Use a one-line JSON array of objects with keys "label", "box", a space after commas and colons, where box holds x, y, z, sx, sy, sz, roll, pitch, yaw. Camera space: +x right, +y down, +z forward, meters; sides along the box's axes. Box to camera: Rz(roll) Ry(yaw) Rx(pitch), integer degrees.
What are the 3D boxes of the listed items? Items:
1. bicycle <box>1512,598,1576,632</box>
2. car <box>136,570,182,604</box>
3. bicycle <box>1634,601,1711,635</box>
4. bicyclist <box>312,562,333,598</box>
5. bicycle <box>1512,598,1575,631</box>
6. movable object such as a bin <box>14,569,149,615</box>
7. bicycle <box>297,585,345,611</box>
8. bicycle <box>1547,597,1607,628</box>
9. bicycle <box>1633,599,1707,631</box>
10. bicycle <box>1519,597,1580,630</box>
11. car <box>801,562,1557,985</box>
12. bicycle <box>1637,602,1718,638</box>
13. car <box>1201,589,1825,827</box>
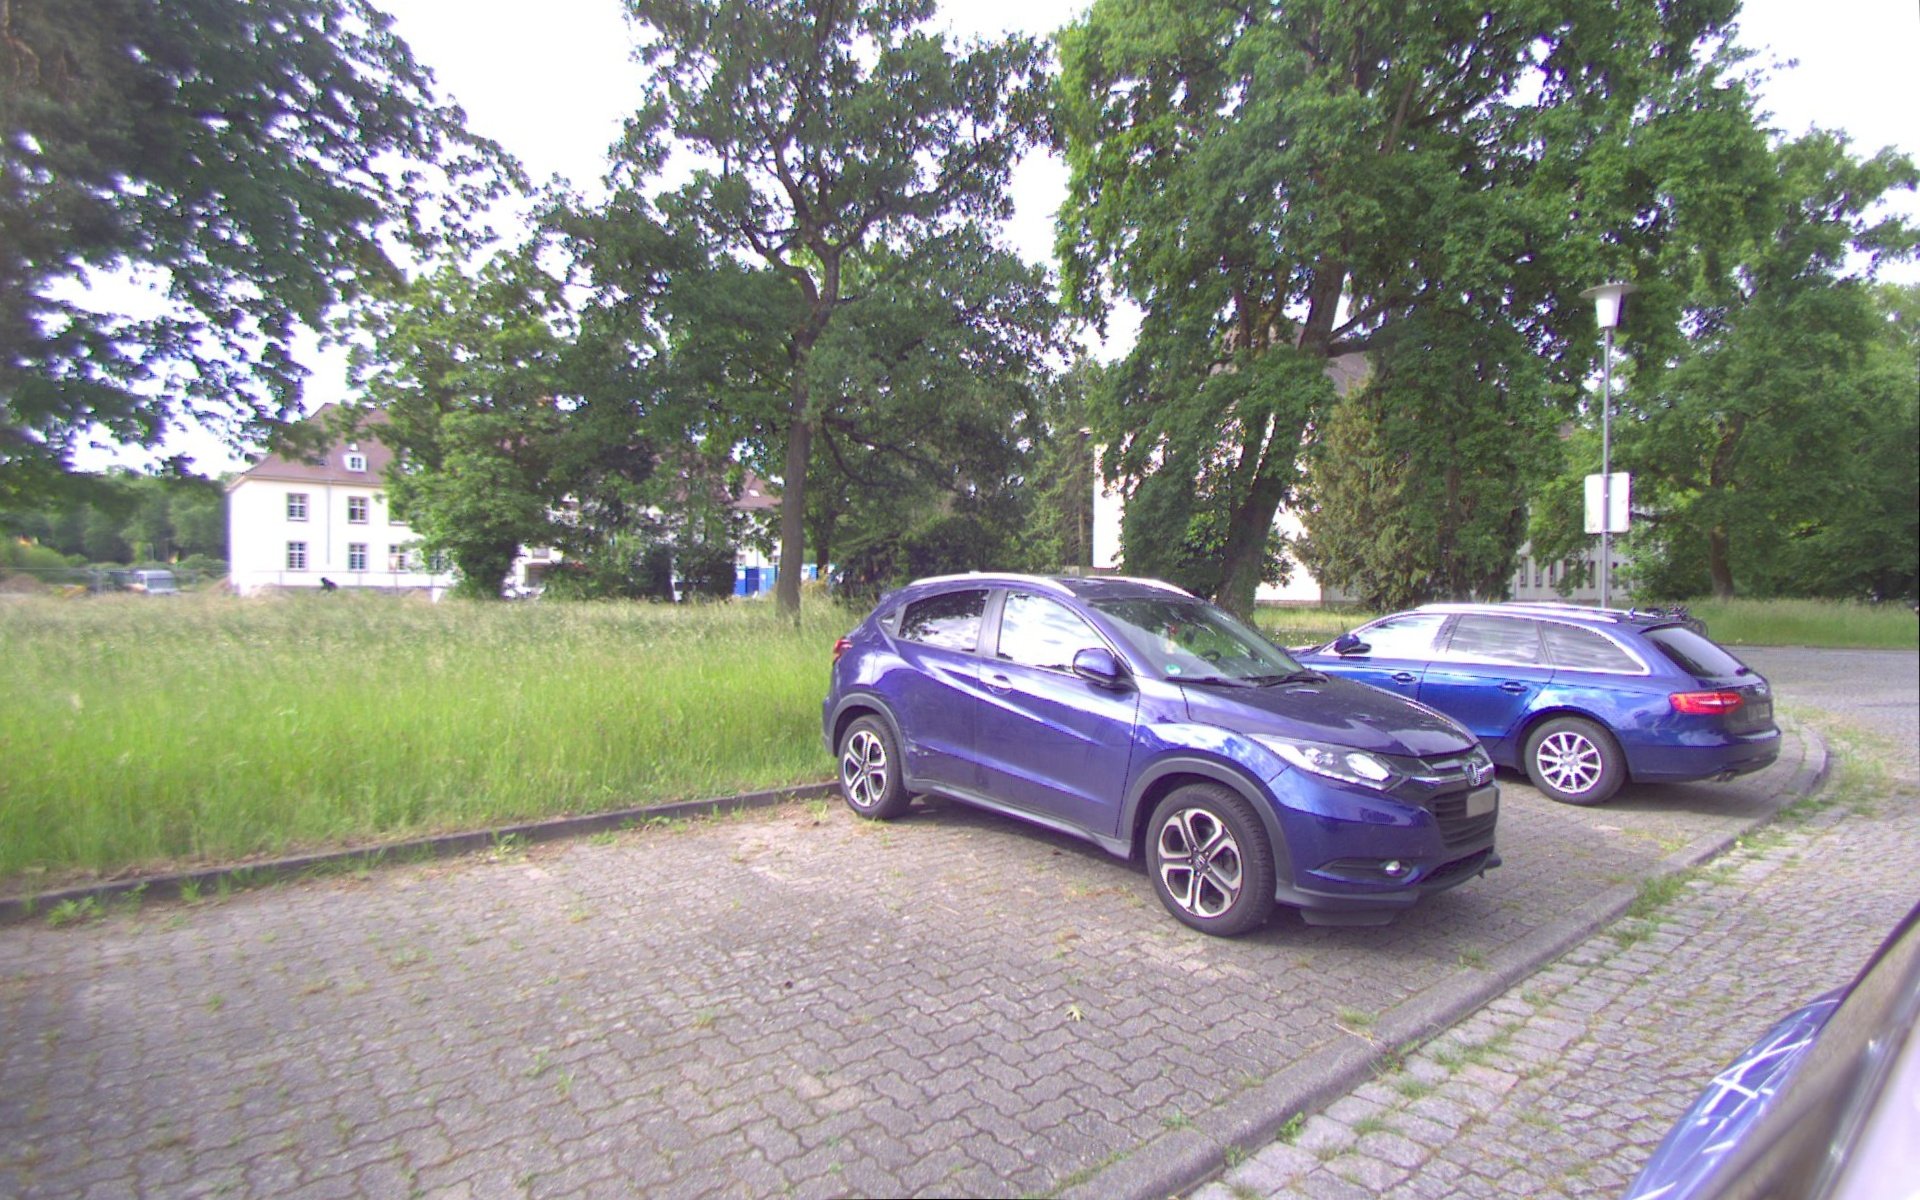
[{"label": "bicycle", "box": [19.882, 0.505, 34.511, 1.839, 1.137, 0.616, 0, 0, 27]}, {"label": "car", "box": [-57.579, -0.909, 72.706, 4.579, 2.377, 1.888, 0, 0, 42]}, {"label": "bicycle", "box": [23.067, 0.572, 32.796, 1.951, 1.090, 0.584, 0, 0, 23]}, {"label": "bicyclist", "box": [-31.351, -0.984, 49.763, 0.759, 1.717, 0.726, 0, 0, -42]}, {"label": "bicycle", "box": [20.203, 0.499, 35.061, 1.839, 1.137, 0.616, 0, 0, 27]}, {"label": "movable object such as a bin", "box": [-53.706, -0.506, 62.025, 5.853, 2.688, 2.179, 0, 0, -22]}, {"label": "bicycle", "box": [-31.361, -0.124, 49.685, 1.899, 1.244, 0.724, -1, 0, -42]}, {"label": "bicycle", "box": [22.967, 0.450, 37.695, 1.839, 1.137, 0.616, 0, 0, 27]}, {"label": "bicycle", "box": [24.250, 0.502, 34.602, 2.010, 1.090, 0.616, 0, 0, 27]}, {"label": "bicycle", "box": [21.197, 0.483, 36.411, 1.839, 1.137, 0.616, 0, 0, 27]}, {"label": "car", "box": [0.913, 0.599, 5.972, 1.762, 1.591, 4.170, -1, 2, -40]}, {"label": "bicycle", "box": [22.232, 0.623, 31.377, 1.951, 1.090, 0.584, 0, 0, 23]}, {"label": "car", "box": [4.479, 0.680, 8.903, 1.752, 1.439, 4.483, 0, 2, -37]}]
